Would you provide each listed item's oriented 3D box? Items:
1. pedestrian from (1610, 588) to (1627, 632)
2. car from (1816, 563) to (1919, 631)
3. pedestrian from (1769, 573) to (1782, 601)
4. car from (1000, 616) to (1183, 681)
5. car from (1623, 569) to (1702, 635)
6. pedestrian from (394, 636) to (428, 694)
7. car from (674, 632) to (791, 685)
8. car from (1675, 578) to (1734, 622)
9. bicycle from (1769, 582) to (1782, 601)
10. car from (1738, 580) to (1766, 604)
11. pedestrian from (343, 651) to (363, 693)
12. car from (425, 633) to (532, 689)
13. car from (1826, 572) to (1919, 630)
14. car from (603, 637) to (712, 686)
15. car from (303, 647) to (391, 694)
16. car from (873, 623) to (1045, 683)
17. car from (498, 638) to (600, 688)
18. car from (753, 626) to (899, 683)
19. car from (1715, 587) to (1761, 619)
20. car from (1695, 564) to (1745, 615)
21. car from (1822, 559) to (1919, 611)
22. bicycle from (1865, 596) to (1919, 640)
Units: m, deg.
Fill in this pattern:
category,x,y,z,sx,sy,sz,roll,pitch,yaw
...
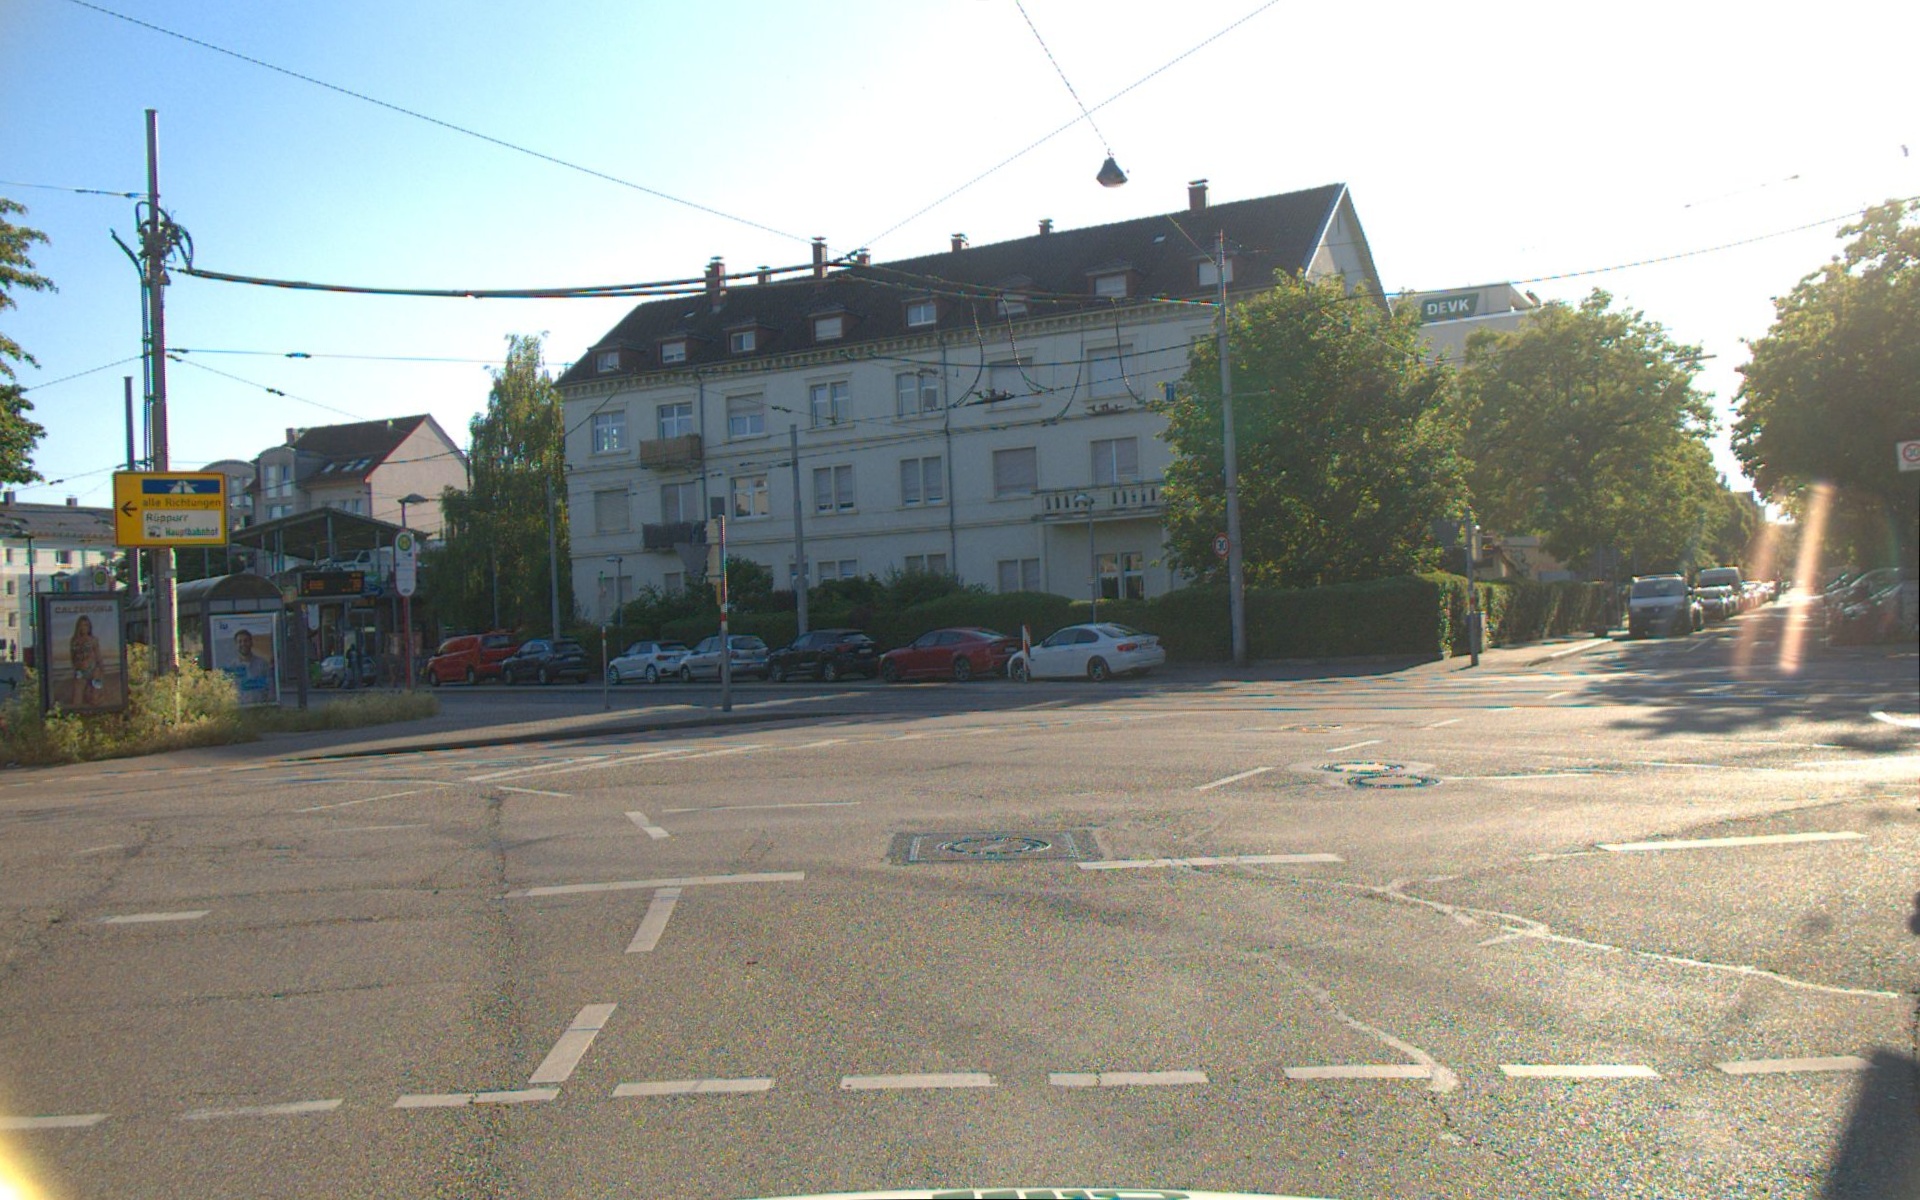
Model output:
category,x,y,z,sx,sy,sz,roll,pitch,yaw
pedestrian,26.766,0.408,67.262,0.567,1.761,0.608,-3,-1,22
car,30.231,-0.126,52.192,5.508,1.958,2.360,-3,-3,25
pedestrian,59.787,-0.971,121.205,0.723,2.049,0.742,-3,-1,29
car,3.291,1.261,42.068,1.917,1.400,4.424,-5,1,-44
car,24.135,0.072,56.715,2.308,2.049,5.306,-3,-1,24
pedestrian,-20.094,2.378,60.519,0.914,2.049,0.758,-2,-2,-38
car,-7.371,1.892,53.403,1.971,1.472,3.661,-5,1,-42
car,34.025,-0.003,75.580,2.308,1.826,5.306,-3,-1,24
bicycle,59.776,-0.598,121.163,0.751,1.347,1.921,-3,-1,27
car,61.307,-0.614,128.000,1.954,1.718,3.996,0,-1,26
pedestrian,-22.562,2.674,61.481,0.560,1.527,0.671,-2,-1,-30
car,-19.632,2.499,67.299,2.040,1.995,5.070,-5,1,-42
car,29.058,-0.007,49.885,4.989,1.584,2.360,-3,-3,25
car,-10.410,2.122,56.777,1.830,1.472,3.897,-5,1,-42
car,-28.898,3.342,77.912,2.040,1.995,5.070,-5,1,-42
car,-0.080,1.486,45.932,4.623,1.400,1.975,-4,1,43
car,-15.554,2.396,62.413,1.830,1.696,4.302,-5,1,-42
car,-4.122,1.681,50.285,1.971,1.472,4.632,-5,1,-42
car,48.801,0.165,103.708,2.309,1.826,5.303,-3,-1,28
car,41.193,-0.560,89.724,2.308,2.558,5.306,-3,-1,24
car,39.328,-0.652,69.857,4.989,1.958,2.360,-3,-3,25
bicycle,21.959,0.402,38.307,1.690,0.949,0.671,-3,-1,27
